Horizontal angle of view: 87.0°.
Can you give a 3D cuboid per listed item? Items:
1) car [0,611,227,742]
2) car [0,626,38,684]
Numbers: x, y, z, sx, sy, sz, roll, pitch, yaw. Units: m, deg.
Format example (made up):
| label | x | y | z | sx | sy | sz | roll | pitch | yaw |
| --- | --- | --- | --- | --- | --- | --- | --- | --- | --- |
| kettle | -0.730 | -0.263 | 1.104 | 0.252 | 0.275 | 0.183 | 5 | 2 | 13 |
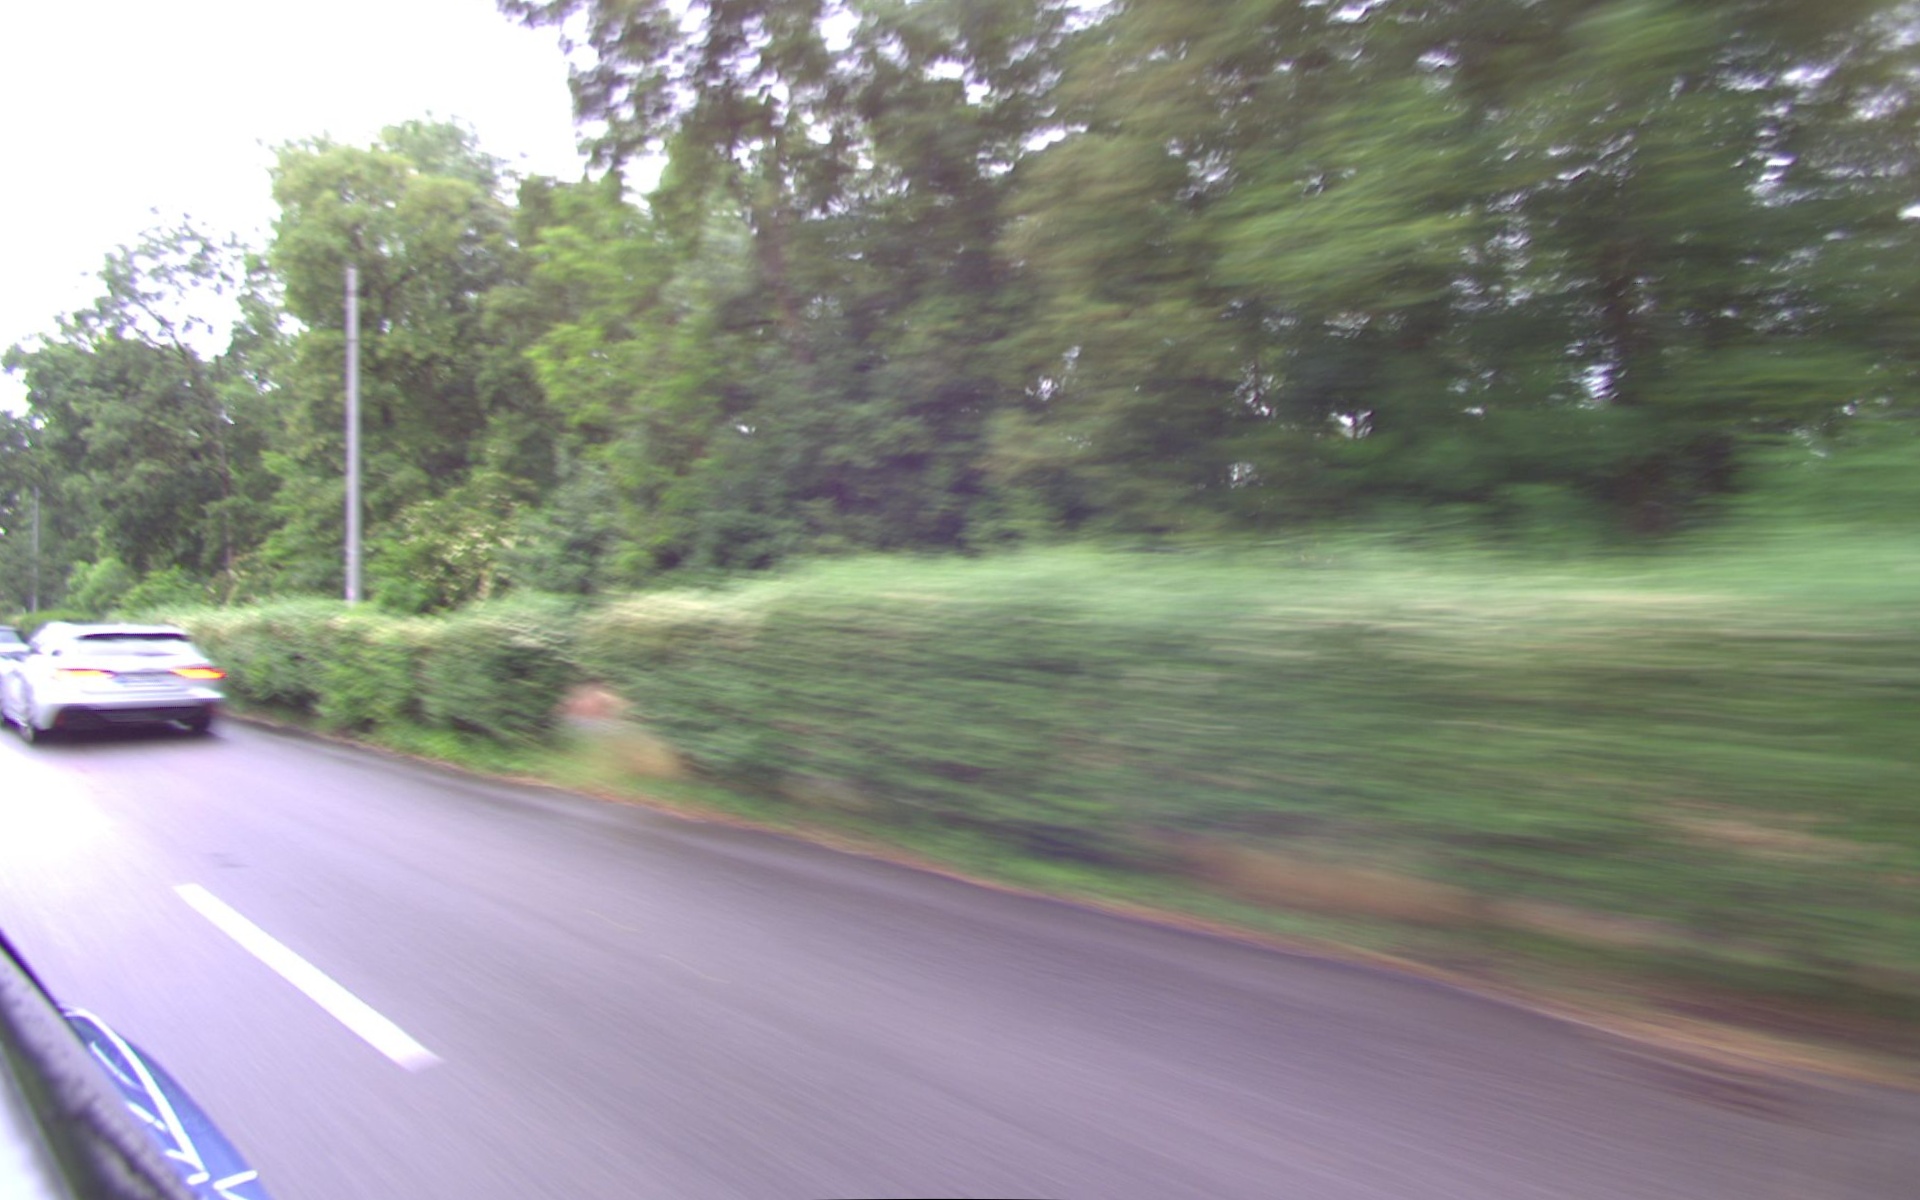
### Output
| label | x | y | z | sx | sy | sz | roll | pitch | yaw |
| --- | --- | --- | --- | --- | --- | --- | --- | --- | --- |
| car | -11.587 | 0.985 | 13.656 | 4.445 | 1.479 | 1.836 | -3 | -5 | 42 |
| car | -24.348 | 1.370 | 25.196 | 3.722 | 1.366 | 1.668 | -3 | -4 | 42 |
